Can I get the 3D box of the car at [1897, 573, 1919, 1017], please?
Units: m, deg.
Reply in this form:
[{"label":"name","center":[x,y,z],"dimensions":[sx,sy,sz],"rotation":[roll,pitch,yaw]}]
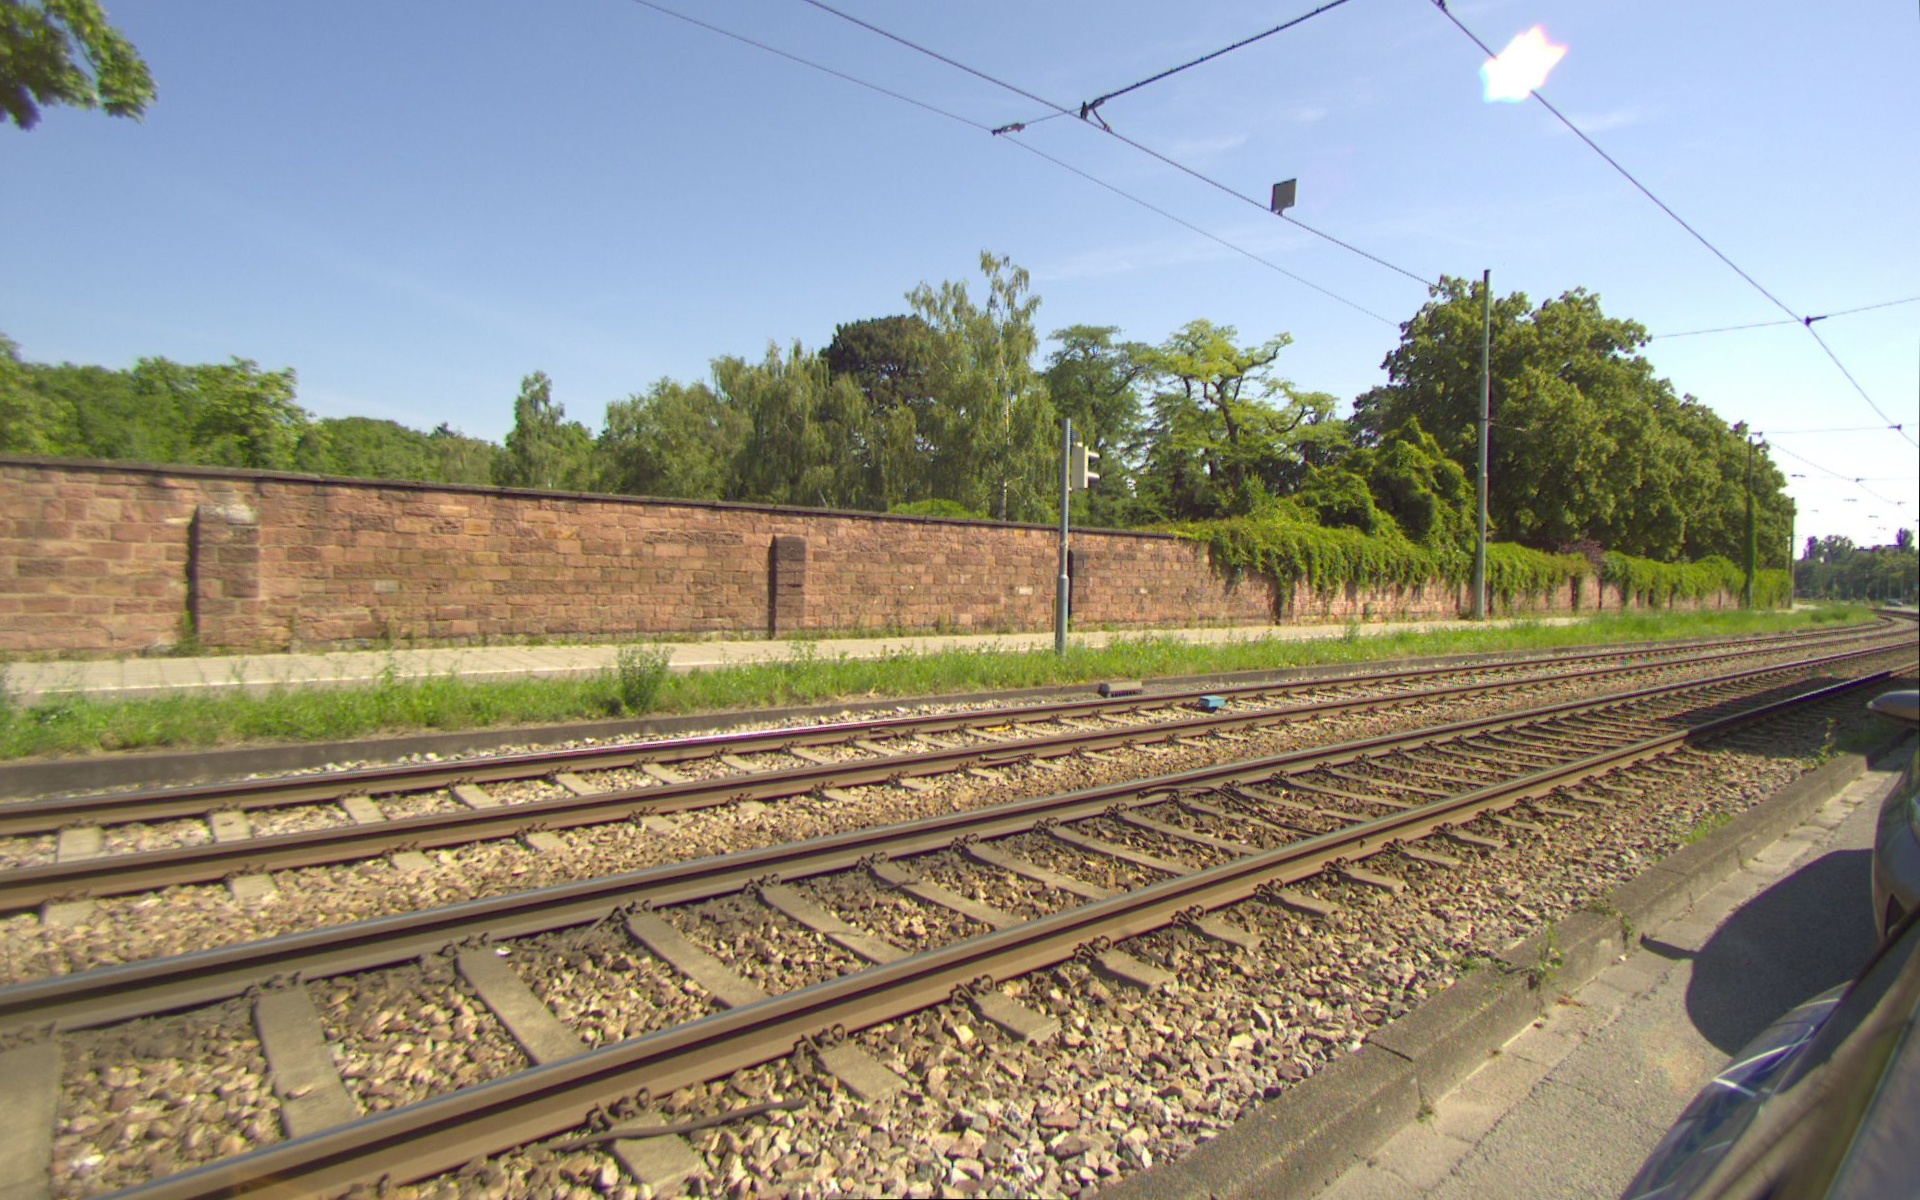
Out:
[{"label":"car","center":[5.108,0.667,4.021],"dimensions":[3.930,1.448,1.573],"rotation":[0,2,-41]}]
